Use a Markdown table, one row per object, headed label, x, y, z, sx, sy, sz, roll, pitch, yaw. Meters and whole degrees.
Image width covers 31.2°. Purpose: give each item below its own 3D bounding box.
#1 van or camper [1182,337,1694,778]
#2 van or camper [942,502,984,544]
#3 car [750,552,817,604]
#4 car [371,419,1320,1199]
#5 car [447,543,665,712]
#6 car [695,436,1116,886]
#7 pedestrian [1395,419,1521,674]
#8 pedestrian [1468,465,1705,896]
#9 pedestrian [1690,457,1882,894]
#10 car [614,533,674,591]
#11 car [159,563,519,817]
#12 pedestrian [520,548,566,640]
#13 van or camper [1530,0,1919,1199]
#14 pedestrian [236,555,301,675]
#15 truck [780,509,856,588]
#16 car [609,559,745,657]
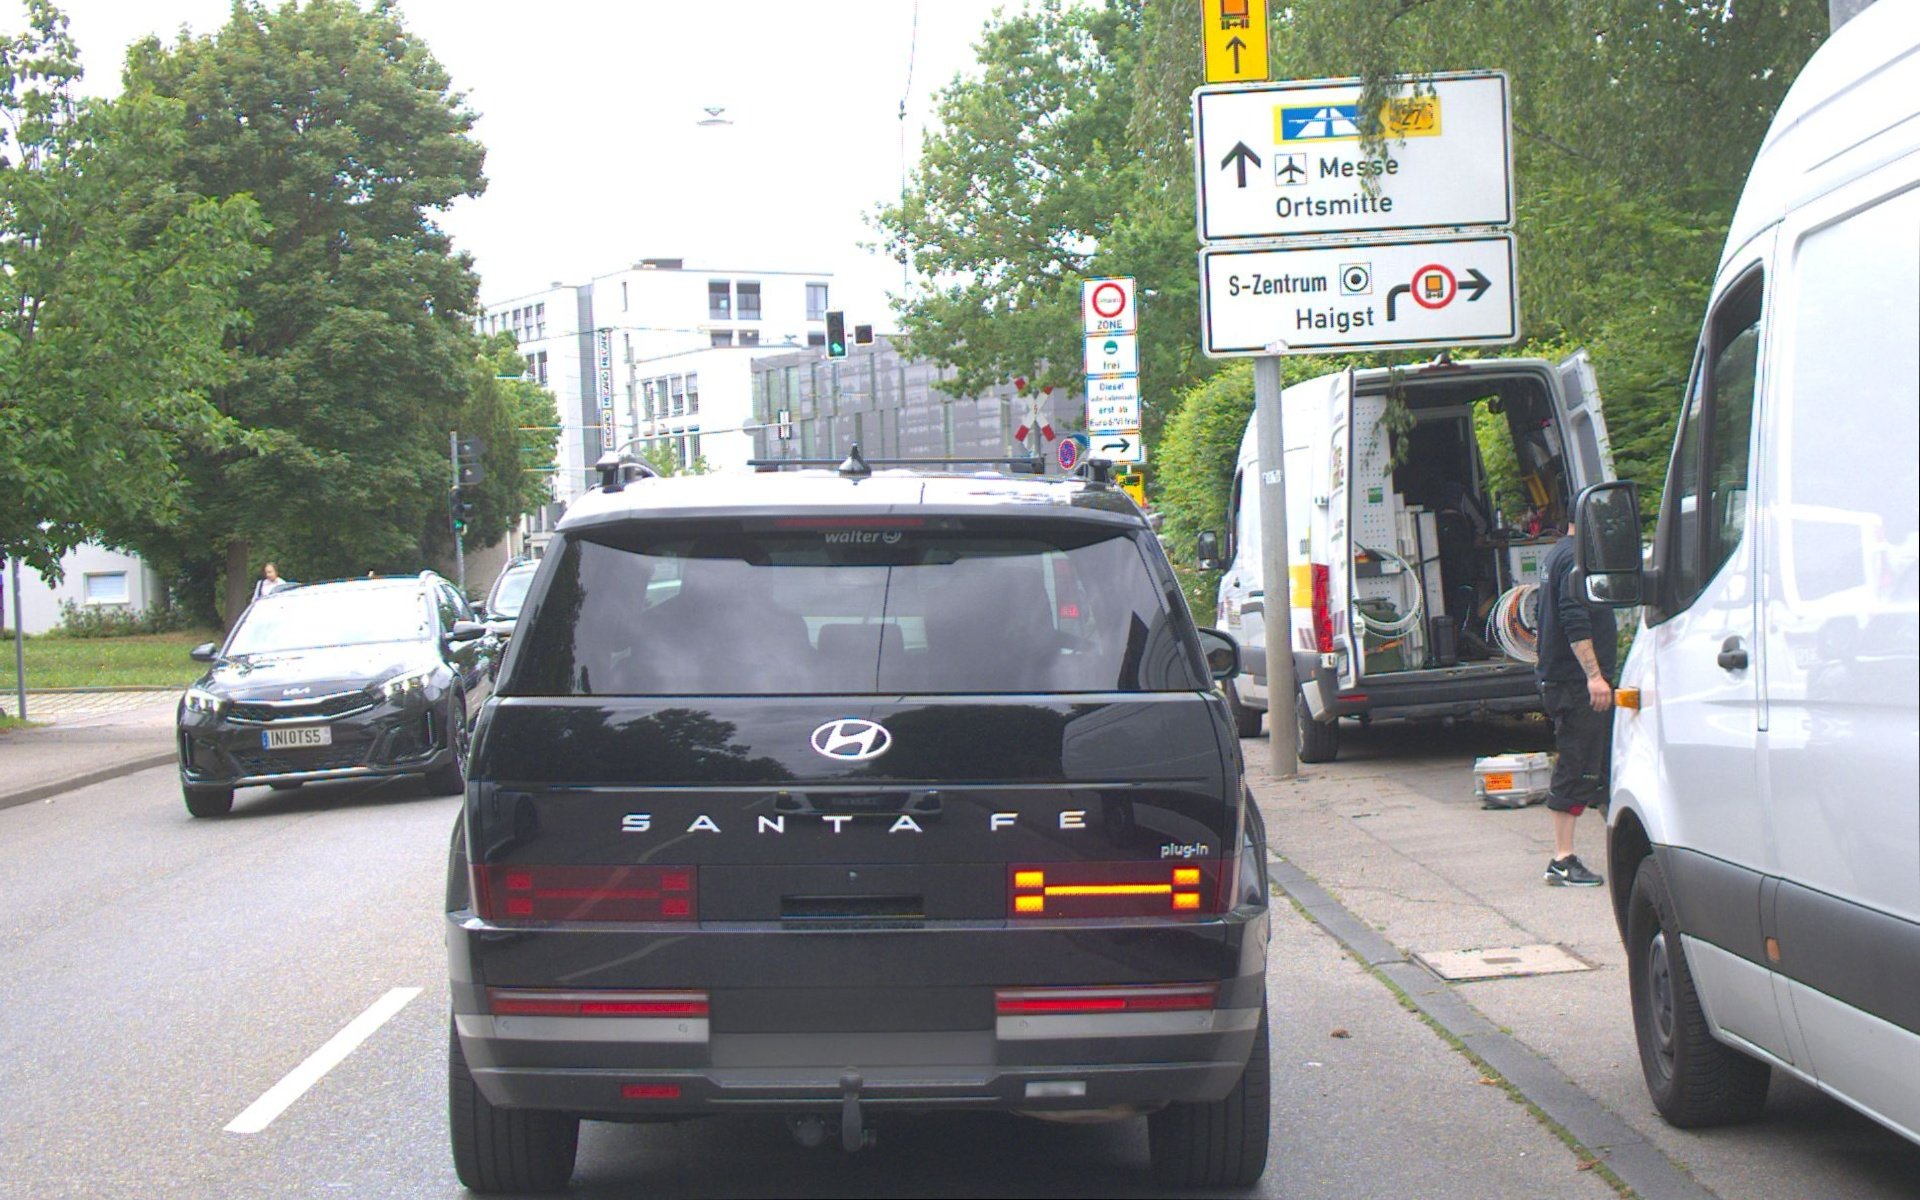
| label | x | y | z | sx | sy | sz | roll | pitch | yaw |
| --- | --- | --- | --- | --- | --- | --- | --- | --- | --- |
| van or camper | 3.122 | -0.249 | 24.208 | 2.340 | 2.486 | 6.603 | -5 | 0 | -1 |
| van or camper | 0.145 | -3.827 | 171.426 | 1.795 | 1.992 | 3.824 | 1 | 0 | -4 |
| car | -5.489 | -0.698 | 107.147 | 1.838 | 1.533 | 4.268 | -2 | 1 | 0 |
| car | -0.255 | 0.518 | 8.967 | 1.897 | 1.770 | 3.994 | 1 | 0 | -1 |
| car | -4.411 | 0.268 | 38.091 | 1.880 | 1.639 | 4.128 | -4 | 1 | -1 |
| car | -0.270 | 0.266 | 17.776 | 1.897 | 2.035 | 3.994 | 1 | 0 | -1 |
| pedestrian | 3.327 | -0.350 | 22.962 | 0.736 | 1.638 | 0.801 | -3 | 0 | 9 |
| pedestrian | 2.626 | 0.322 | 14.359 | 0.790 | 1.715 | 0.752 | -4 | 1 | 17 |
| pedestrian | 3.406 | 0.306 | 14.153 | 0.648 | 1.745 | 0.654 | -2 | 0 | 20 |
| car | -13.166 | -1.581 | 142.994 | 2.332 | 2.307 | 4.959 | -2 | 1 | -6 |
| car | -4.151 | 0.548 | 23.554 | 1.701 | 1.478 | 4.000 | -4 | 0 | -1 |
| pedestrian | -9.187 | -0.135 | 75.773 | 0.830 | 2.007 | 1.047 | 1 | 0 | 2 |
| van or camper | 2.649 | 0.048 | 5.900 | 1.991 | 2.616 | 6.544 | -5 | 0 | -1 |
| pedestrian | -10.154 | 0.209 | 50.514 | 0.767 | 1.742 | 0.904 | 0 | 0 | -1 |
| truck | -7.355 | -2.643 | 176.773 | 3.107 | 3.846 | 9.623 | -2 | 1 | -6 |
| car | -4.663 | 0.111 | 57.174 | 1.814 | 1.414 | 4.829 | -5 | 1 | -1 |
